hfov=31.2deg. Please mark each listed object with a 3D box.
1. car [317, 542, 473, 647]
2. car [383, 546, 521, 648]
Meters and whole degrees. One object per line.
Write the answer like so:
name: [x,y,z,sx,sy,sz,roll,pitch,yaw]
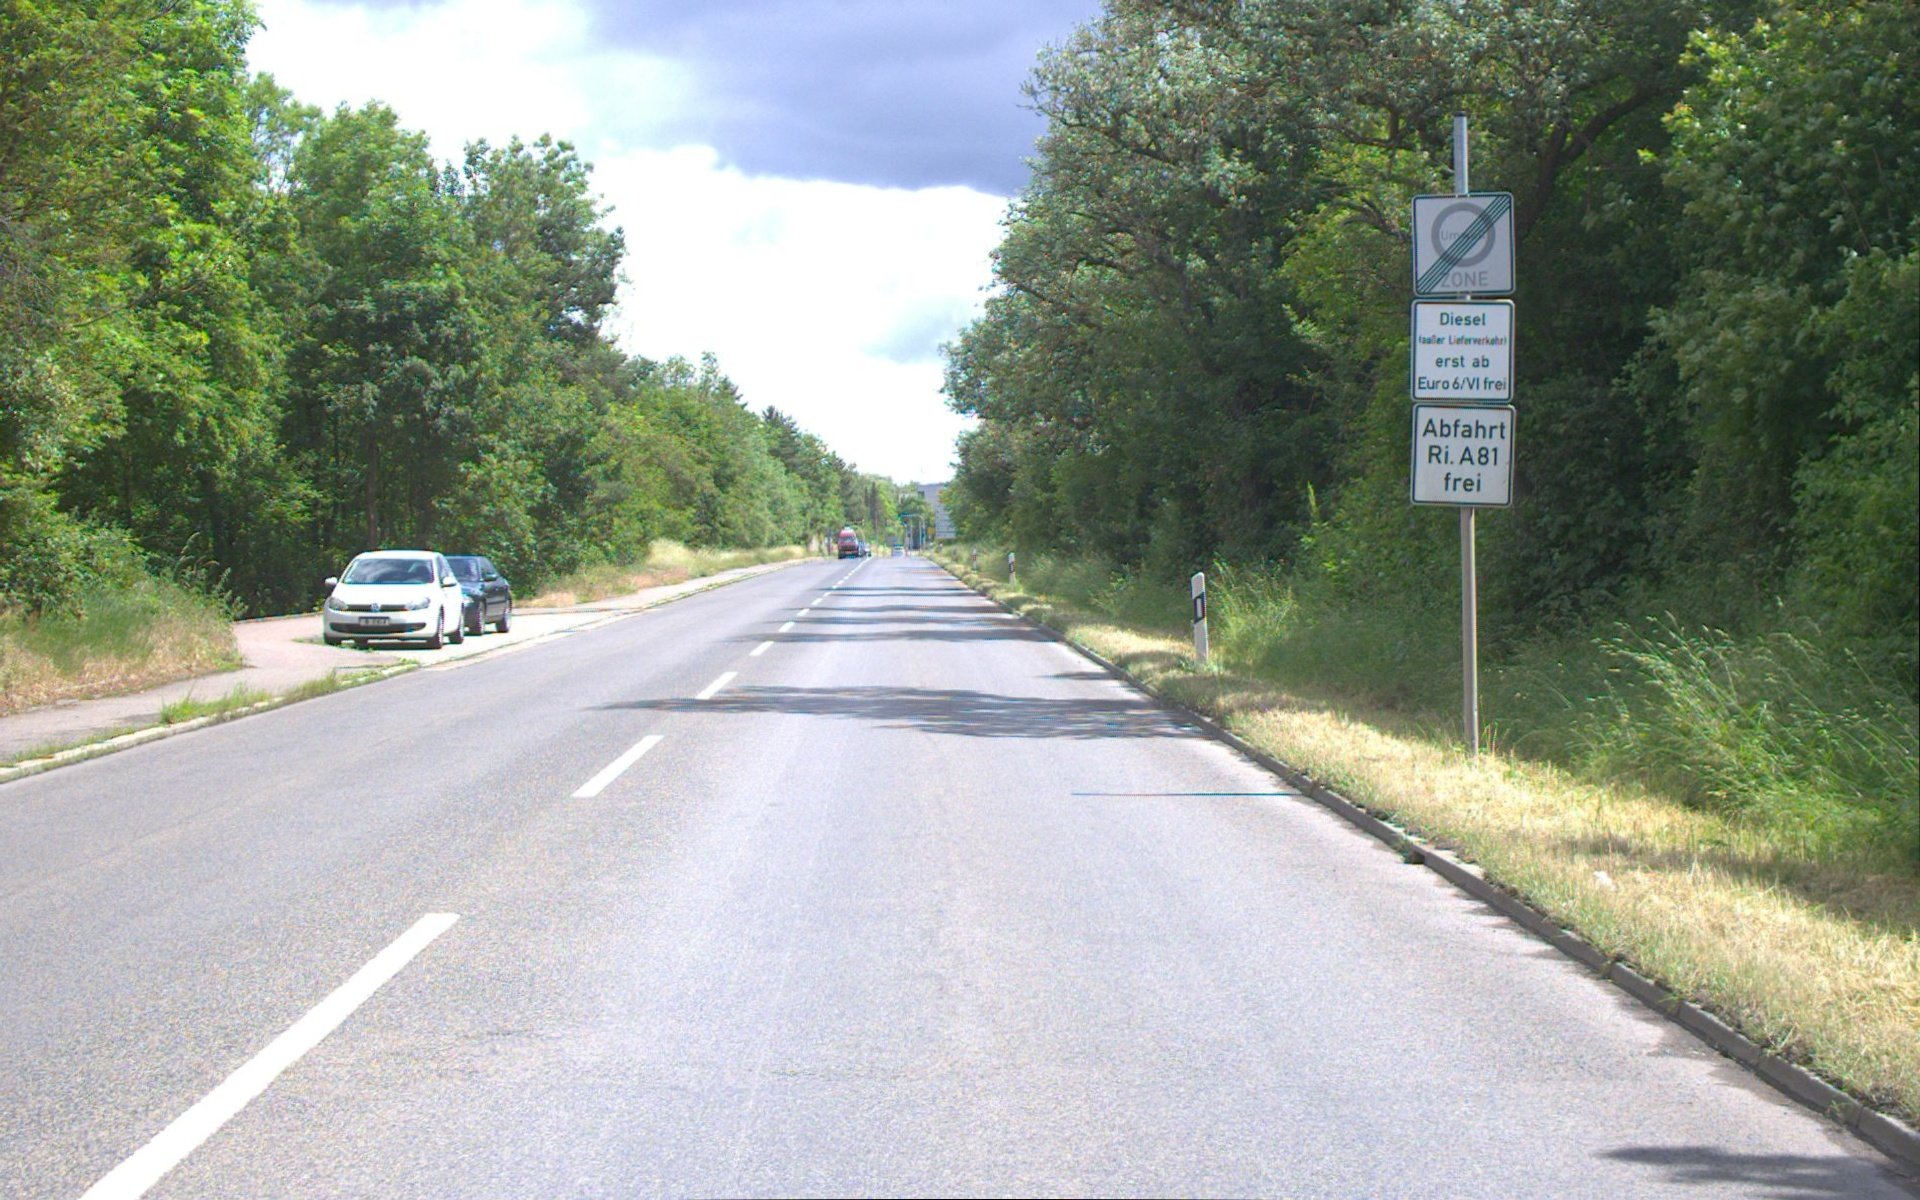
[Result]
car: [-8.674,-0.081,53.058,1.798,1.538,3.955,-1,0,-1]
car: [-8.919,-0.078,60.628,1.798,1.619,3.955,-1,2,0]
